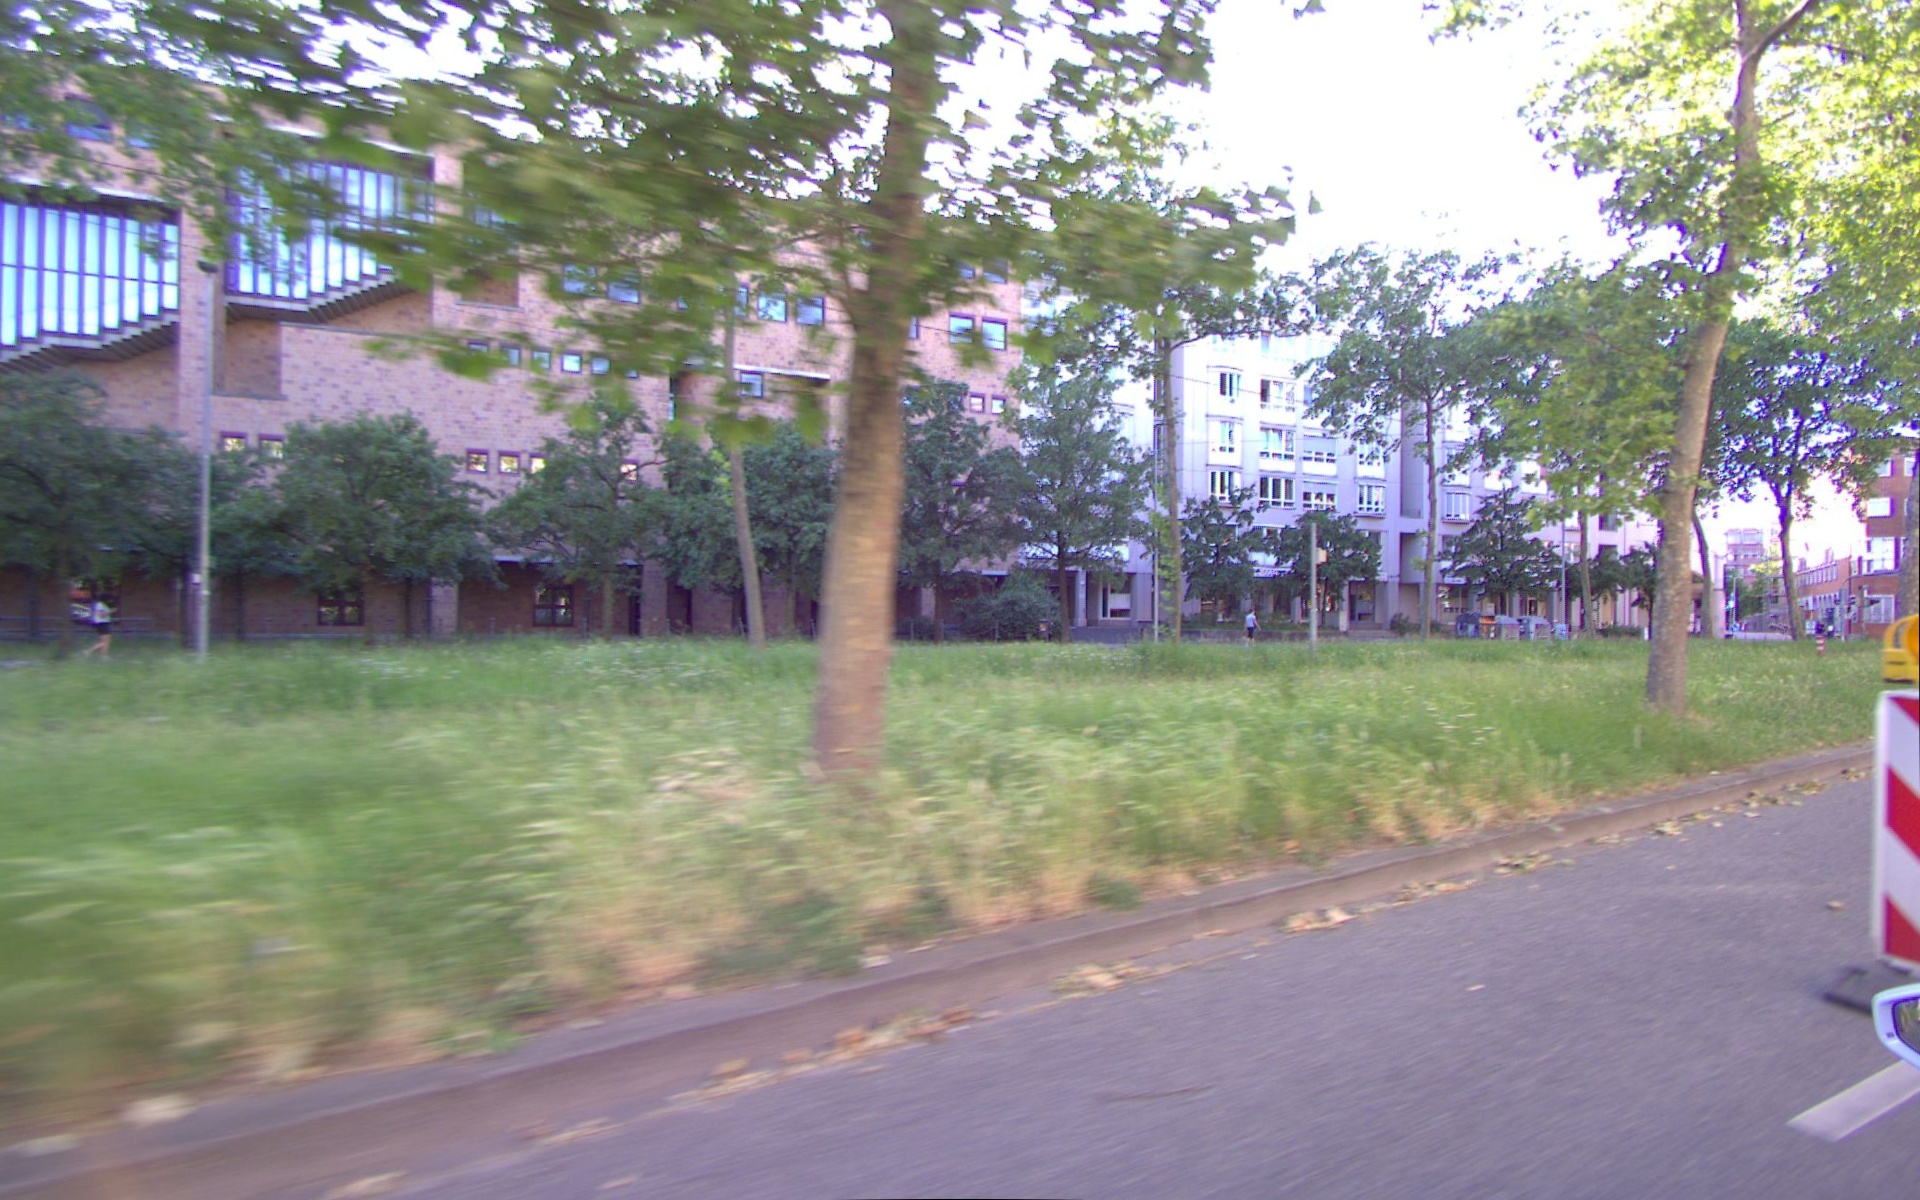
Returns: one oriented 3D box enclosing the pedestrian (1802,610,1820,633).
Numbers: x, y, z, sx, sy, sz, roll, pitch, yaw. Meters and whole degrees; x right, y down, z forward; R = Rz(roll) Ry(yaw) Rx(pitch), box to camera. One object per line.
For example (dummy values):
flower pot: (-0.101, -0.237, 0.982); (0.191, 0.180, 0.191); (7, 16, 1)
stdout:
pedestrian: (68.808, 1.732, 81.224); (0.742, 1.894, 0.852); (0, -1, -25)

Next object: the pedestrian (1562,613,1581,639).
pedestrian: (38.558, 1.645, 63.340); (0.777, 1.660, 0.705); (1, 0, -22)

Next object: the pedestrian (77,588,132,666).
pedestrian: (-20.949, 0.654, 24.619); (0.891, 1.856, 0.819); (0, 0, -33)

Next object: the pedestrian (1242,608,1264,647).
pedestrian: (13.195, 1.237, 45.285); (0.640, 1.763, 0.725); (0, 0, -30)
